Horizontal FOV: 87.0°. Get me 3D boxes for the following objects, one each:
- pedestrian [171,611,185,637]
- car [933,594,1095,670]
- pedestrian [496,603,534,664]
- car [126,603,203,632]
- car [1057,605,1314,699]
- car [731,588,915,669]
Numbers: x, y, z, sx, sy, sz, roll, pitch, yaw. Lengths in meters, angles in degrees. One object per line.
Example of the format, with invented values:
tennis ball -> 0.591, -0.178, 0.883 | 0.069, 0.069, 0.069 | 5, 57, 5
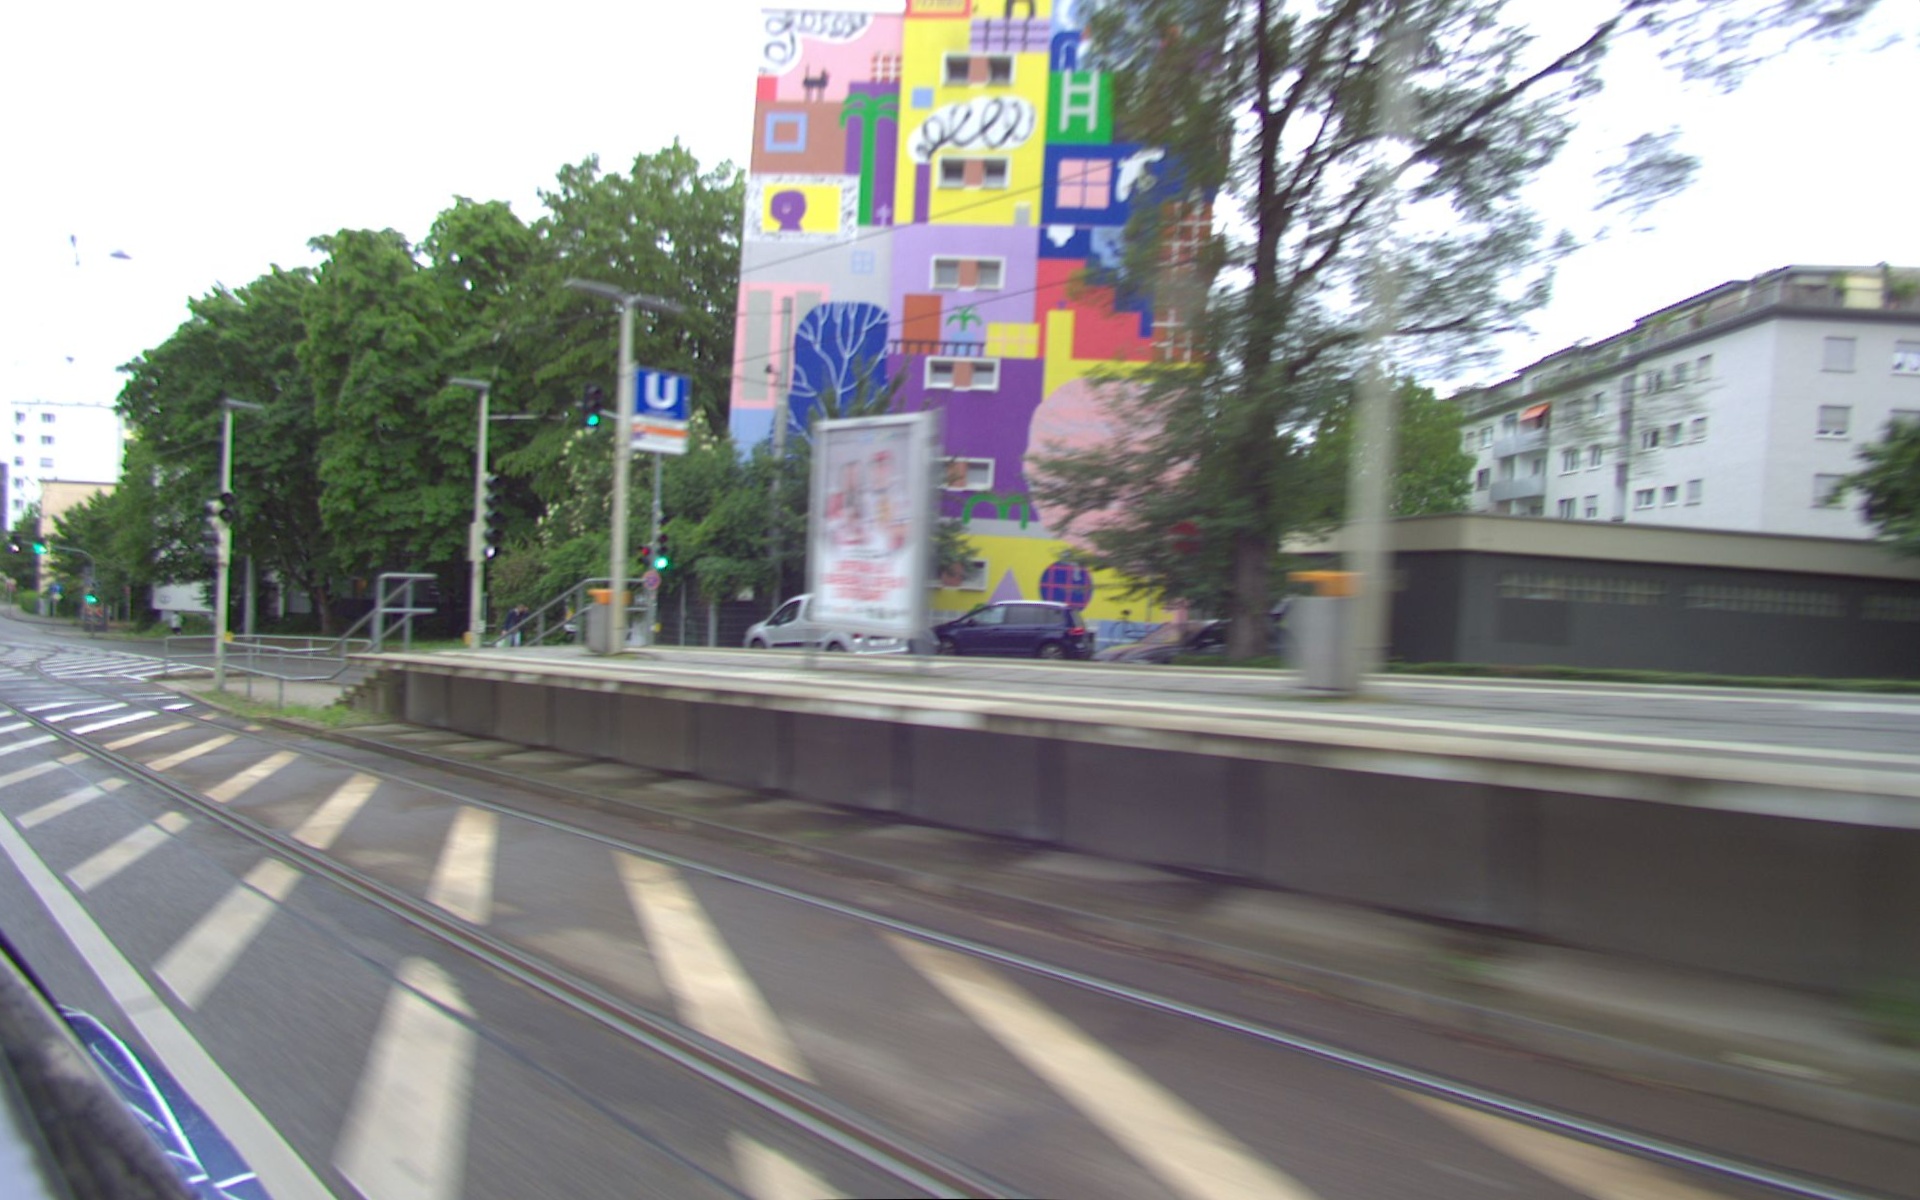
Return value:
pedestrian -> -43.344, 1.340, 56.092 | 0.529, 1.437, 0.522 | 0, 1, 43
car -> 1.426, 0.797, 26.198 | 3.913, 1.650, 1.705 | 3, 0, 12
pedestrian -> -12.133, 0.897, 27.611 | 0.617, 1.605, 0.745 | 0, 1, 43
car -> -52.594, 1.117, 66.974 | 3.935, 1.763, 2.004 | -1, 1, -38
car -> 4.175, 0.895, 18.582 | 4.416, 1.554, 1.951 | 1, -1, -29
car -> -3.291, 0.613, 23.773 | 4.437, 1.730, 1.729 | 0, -1, 40
